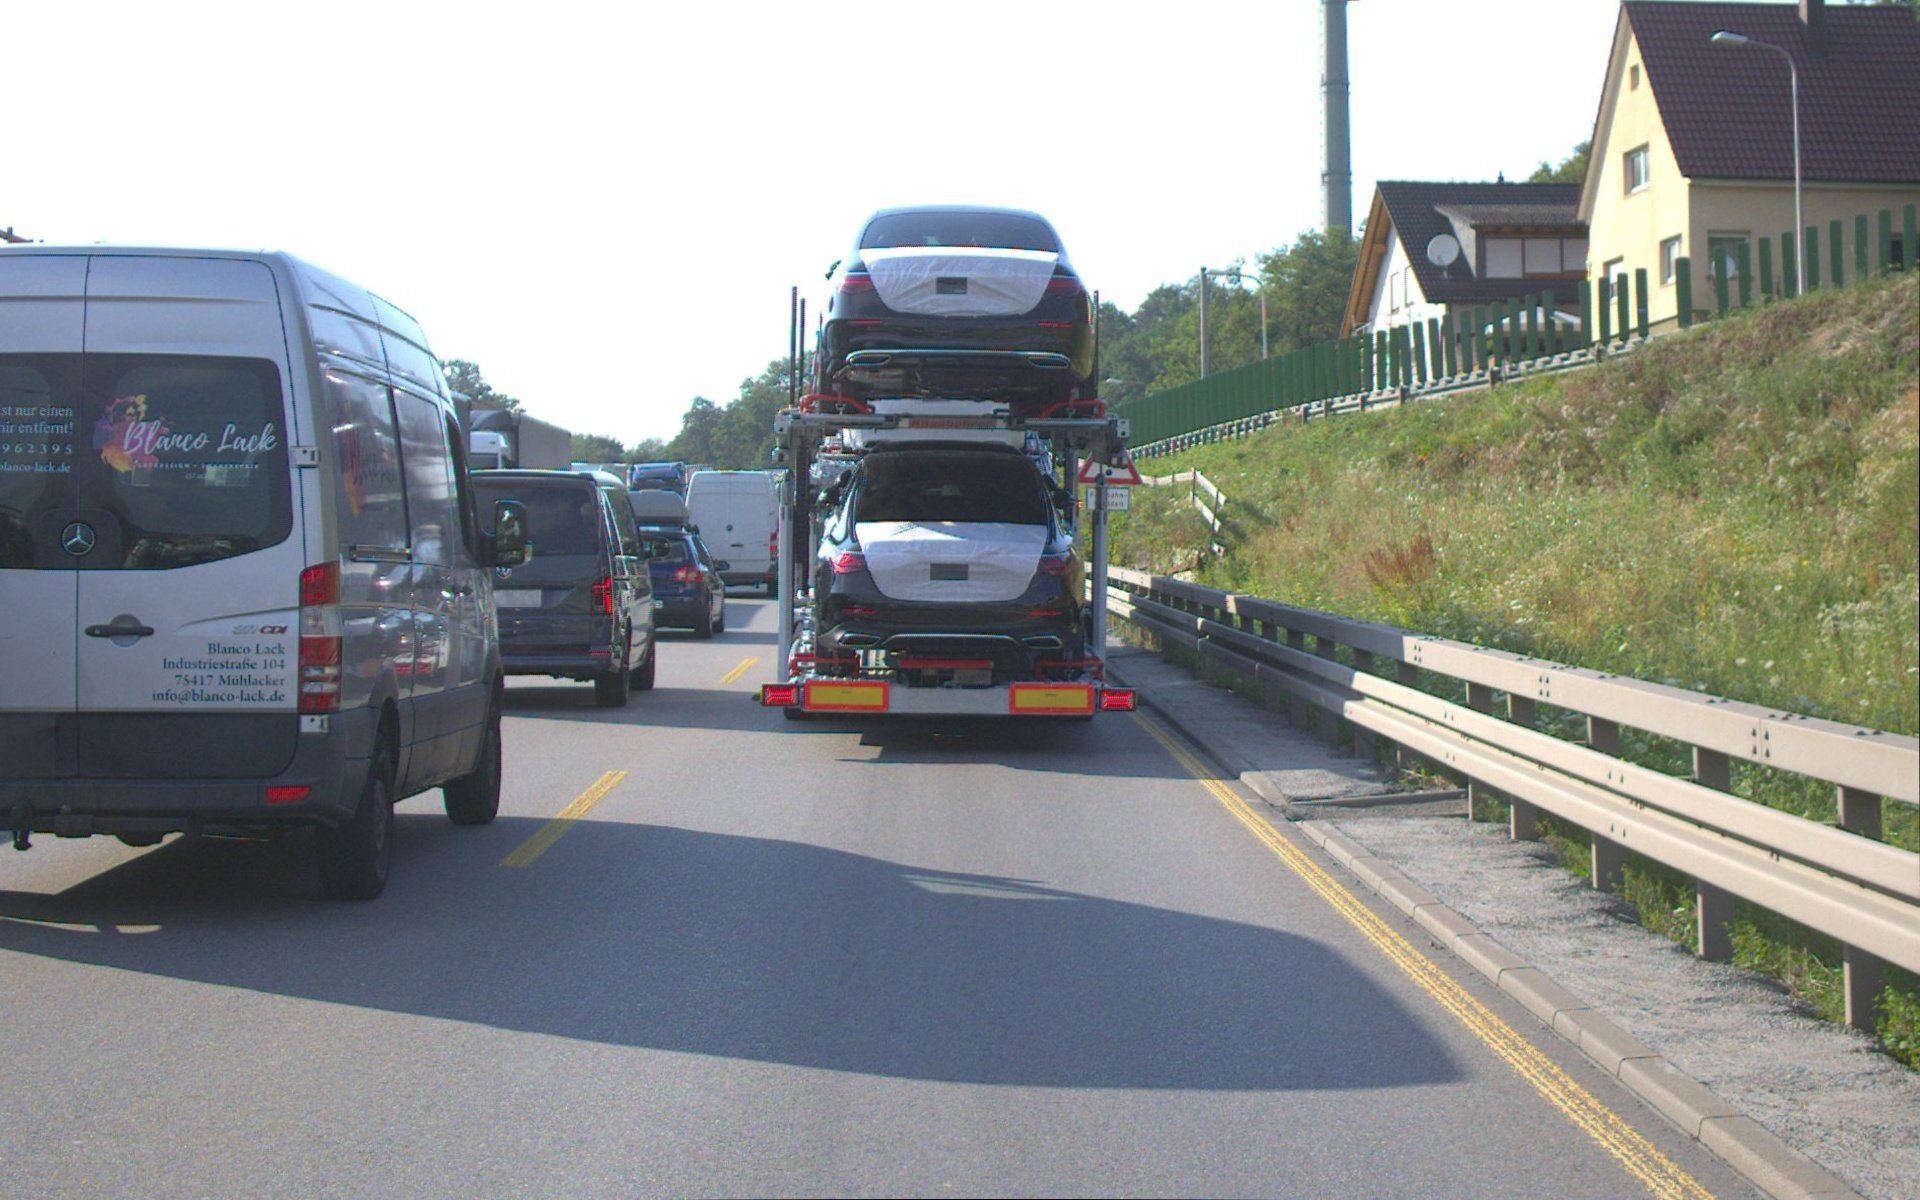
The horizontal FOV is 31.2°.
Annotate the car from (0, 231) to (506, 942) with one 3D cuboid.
[{"bbox_3d":[-3.387,-0.122,15.576,1.993,2.639,5.531,-1,2,-1],"label":"car"}]

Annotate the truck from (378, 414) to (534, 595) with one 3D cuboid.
[{"bbox_3d":[-11.564,-2.153,79.339,2.860,3.994,5.658,1,1,-1],"label":"truck"}]

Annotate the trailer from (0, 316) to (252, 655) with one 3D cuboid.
[{"bbox_3d":[-10.795,-1.262,41.060,2.557,3.514,10.682,1,1,-1],"label":"trailer"}]

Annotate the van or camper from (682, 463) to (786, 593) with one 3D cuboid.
[{"bbox_3d":[-4.691,-1.482,71.924,1.968,2.583,5.042,1,1,-2],"label":"van or camper"}]

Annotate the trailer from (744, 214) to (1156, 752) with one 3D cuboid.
[{"bbox_3d":[-0.175,-0.874,30.365,2.682,3.522,15.289,1,1,-1],"label":"trailer"}]

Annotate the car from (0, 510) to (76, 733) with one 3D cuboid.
[{"bbox_3d":[-7.529,0.142,23.527,1.765,1.547,4.837,1,1,-1],"label":"car"}]

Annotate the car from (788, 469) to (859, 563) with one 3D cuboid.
[{"bbox_3d":[-7.552,-4.597,188.605,3.444,5.018,9.655,0,1,-5],"label":"car"}]

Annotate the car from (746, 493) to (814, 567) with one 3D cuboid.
[{"bbox_3d":[-5.239,-2.049,100.356,1.885,2.092,3.766,0,1,-2],"label":"car"}]

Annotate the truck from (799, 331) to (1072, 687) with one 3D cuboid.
[{"bbox_3d":[-0.295,-0.956,37.870,2.682,3.522,7.194,1,1,-1],"label":"truck"}]

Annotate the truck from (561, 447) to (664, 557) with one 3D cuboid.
[{"bbox_3d":[-11.487,-3.195,114.271,2.714,3.413,8.142,-3,1,-2],"label":"truck"}]

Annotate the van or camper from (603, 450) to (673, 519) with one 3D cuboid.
[{"bbox_3d":[-13.012,-4.642,139.257,2.312,2.653,6.456,-2,2,-1],"label":"van or camper"}]

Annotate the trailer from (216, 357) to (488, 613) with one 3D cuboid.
[{"bbox_3d":[-10.852,-2.094,62.953,2.764,4.127,14.027,1,2,-1],"label":"trailer"}]

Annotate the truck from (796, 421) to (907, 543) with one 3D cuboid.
[{"bbox_3d":[-4.258,-4.673,137.457,4.065,4.663,10.593,0,1,0],"label":"truck"}]

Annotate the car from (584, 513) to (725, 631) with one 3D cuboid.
[{"bbox_3d":[-4.160,-0.416,47.270,1.725,1.517,3.974,1,2,-2],"label":"car"}]

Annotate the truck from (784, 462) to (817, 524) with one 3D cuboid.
[{"bbox_3d":[-11.826,-7.863,254.136,2.197,4.411,8.233,-1,1,-4],"label":"truck"}]

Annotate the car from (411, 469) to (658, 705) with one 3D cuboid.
[{"bbox_3d":[-3.633,-0.116,29.967,1.808,1.897,4.000,1,0,-3],"label":"car"}]

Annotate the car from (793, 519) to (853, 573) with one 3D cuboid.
[{"bbox_3d":[-4.837,-1.914,121.583,1.993,1.853,4.000,0,1,0],"label":"car"}]

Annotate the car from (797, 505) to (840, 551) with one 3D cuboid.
[{"bbox_3d":[-9.500,-4.784,230.515,2.770,2.982,5.598,1,1,-2],"label":"car"}]

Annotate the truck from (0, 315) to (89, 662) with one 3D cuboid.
[{"bbox_3d":[-10.715,-1.115,34.611,2.548,3.397,5.532,1,1,-1],"label":"truck"}]

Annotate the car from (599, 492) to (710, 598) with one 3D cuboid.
[{"bbox_3d":[-7.454,-1.351,84.323,2.471,2.525,4.000,0,1,-2],"label":"car"}]
